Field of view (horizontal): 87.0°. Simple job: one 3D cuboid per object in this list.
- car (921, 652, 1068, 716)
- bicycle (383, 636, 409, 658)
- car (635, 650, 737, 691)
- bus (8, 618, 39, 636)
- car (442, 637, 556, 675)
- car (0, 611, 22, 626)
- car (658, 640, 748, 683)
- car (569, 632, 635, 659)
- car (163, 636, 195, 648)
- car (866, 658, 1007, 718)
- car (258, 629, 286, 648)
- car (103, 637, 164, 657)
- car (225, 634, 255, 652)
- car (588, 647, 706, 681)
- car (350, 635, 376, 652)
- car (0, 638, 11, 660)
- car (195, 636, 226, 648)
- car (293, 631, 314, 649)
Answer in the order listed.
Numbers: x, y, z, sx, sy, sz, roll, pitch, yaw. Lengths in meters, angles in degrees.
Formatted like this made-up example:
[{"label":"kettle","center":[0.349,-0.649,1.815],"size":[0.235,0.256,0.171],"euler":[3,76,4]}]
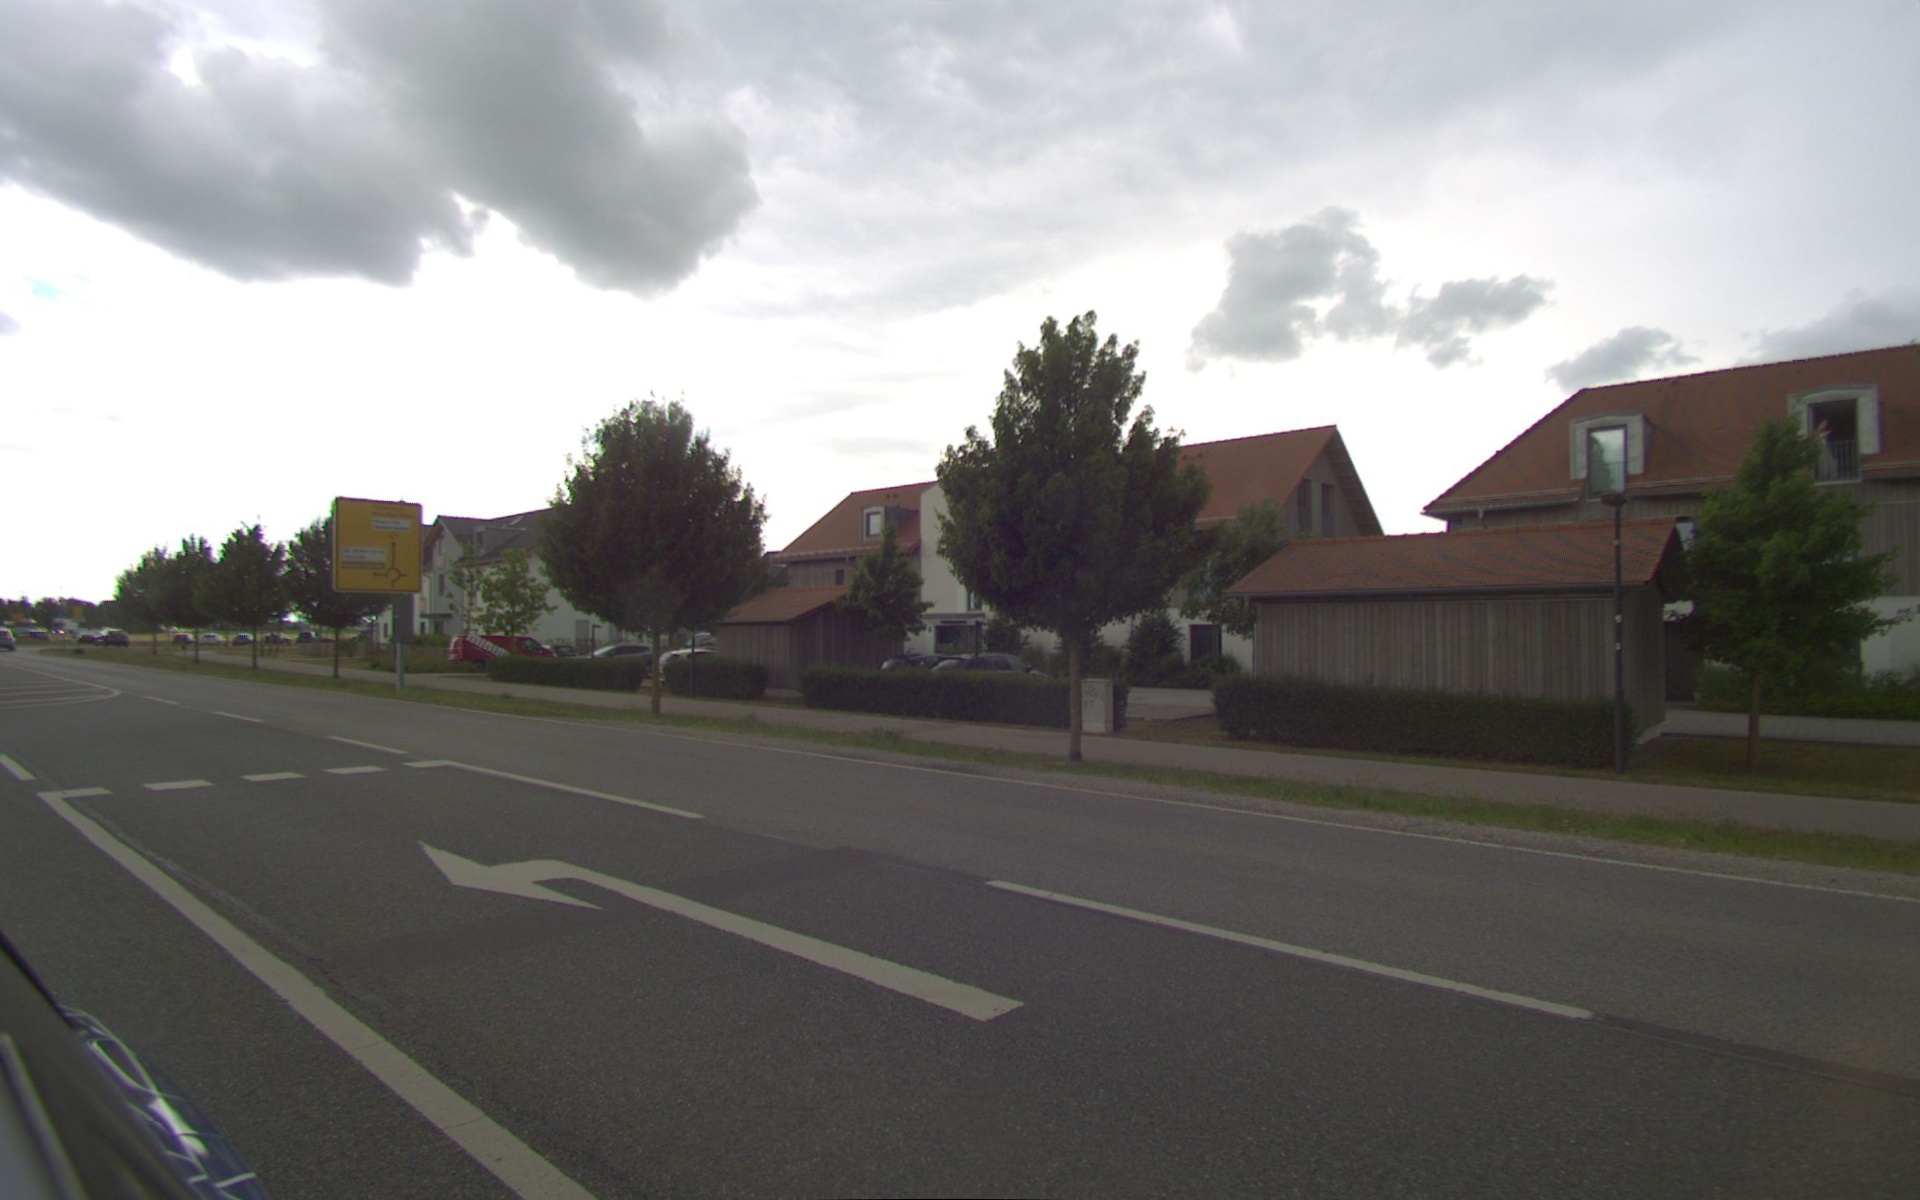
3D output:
[{"label":"car","center":[1.009,2.293,27.985],"size":[2.000,1.630,3.943],"euler":[-2,-5,42]},{"label":"bicycle","center":[-36.332,3.017,65.172],"size":[2.342,1.423,0.675],"euler":[-2,-5,41]},{"label":"car","center":[-10.457,2.694,38.798],"size":[1.562,1.501,3.477],"euler":[-2,-5,41]},{"label":"bus","center":[-173.054,5.009,187.027],"size":[6.473,3.305,2.956],"euler":[-1,-4,37]},{"label":"car","center":[-23.318,2.861,51.283],"size":[4.847,1.830,1.907],"euler":[4,-5,-44]},{"label":"car","center":[-102.051,1.958,108.440],"size":[3.998,1.455,1.751],"euler":[-2,-5,41]},{"label":"car","center":[-13.187,3.085,51.708],"size":[5.202,2.029,1.971],"euler":[-2,0,44]},{"label":"car","center":[-21.451,2.745,60.606],"size":[3.998,1.519,1.972],"euler":[-2,-5,41]},{"label":"car","center":[-89.020,4.763,115.388],"size":[1.965,1.298,4.013],"euler":[3,-4,-24]},{"label":"car","center":[-0.627,2.563,29.922],"size":[2.000,1.630,3.943],"euler":[-2,-5,42]},{"label":"car","center":[-80.600,4.532,118.672],"size":[1.965,2.029,4.013],"euler":[3,-4,-24]},{"label":"car","center":[-74.542,4.239,91.359],"size":[4.149,1.594,1.834],"euler":[5,-5,-40]},{"label":"car","center":[-83.754,5.002,117.775],"size":[1.965,2.029,4.013],"euler":[3,-4,-24]},{"label":"car","center":[-14.262,2.948,46.348],"size":[1.905,1.441,4.852],"euler":[-2,-5,42]},{"label":"car","center":[-73.436,5.325,124.559],"size":[1.965,2.029,4.013],"euler":[2,-4,-21]},{"label":"car","center":[-64.707,3.237,67.390],"size":[3.998,1.455,1.751],"euler":[-2,-5,41]},{"label":"car","center":[-86.201,4.875,116.395],"size":[1.965,1.298,4.013],"euler":[3,-4,-24]},{"label":"car","center":[-77.657,4.794,119.730],"size":[1.966,2.029,4.010],"euler":[3,-4,-33]}]
